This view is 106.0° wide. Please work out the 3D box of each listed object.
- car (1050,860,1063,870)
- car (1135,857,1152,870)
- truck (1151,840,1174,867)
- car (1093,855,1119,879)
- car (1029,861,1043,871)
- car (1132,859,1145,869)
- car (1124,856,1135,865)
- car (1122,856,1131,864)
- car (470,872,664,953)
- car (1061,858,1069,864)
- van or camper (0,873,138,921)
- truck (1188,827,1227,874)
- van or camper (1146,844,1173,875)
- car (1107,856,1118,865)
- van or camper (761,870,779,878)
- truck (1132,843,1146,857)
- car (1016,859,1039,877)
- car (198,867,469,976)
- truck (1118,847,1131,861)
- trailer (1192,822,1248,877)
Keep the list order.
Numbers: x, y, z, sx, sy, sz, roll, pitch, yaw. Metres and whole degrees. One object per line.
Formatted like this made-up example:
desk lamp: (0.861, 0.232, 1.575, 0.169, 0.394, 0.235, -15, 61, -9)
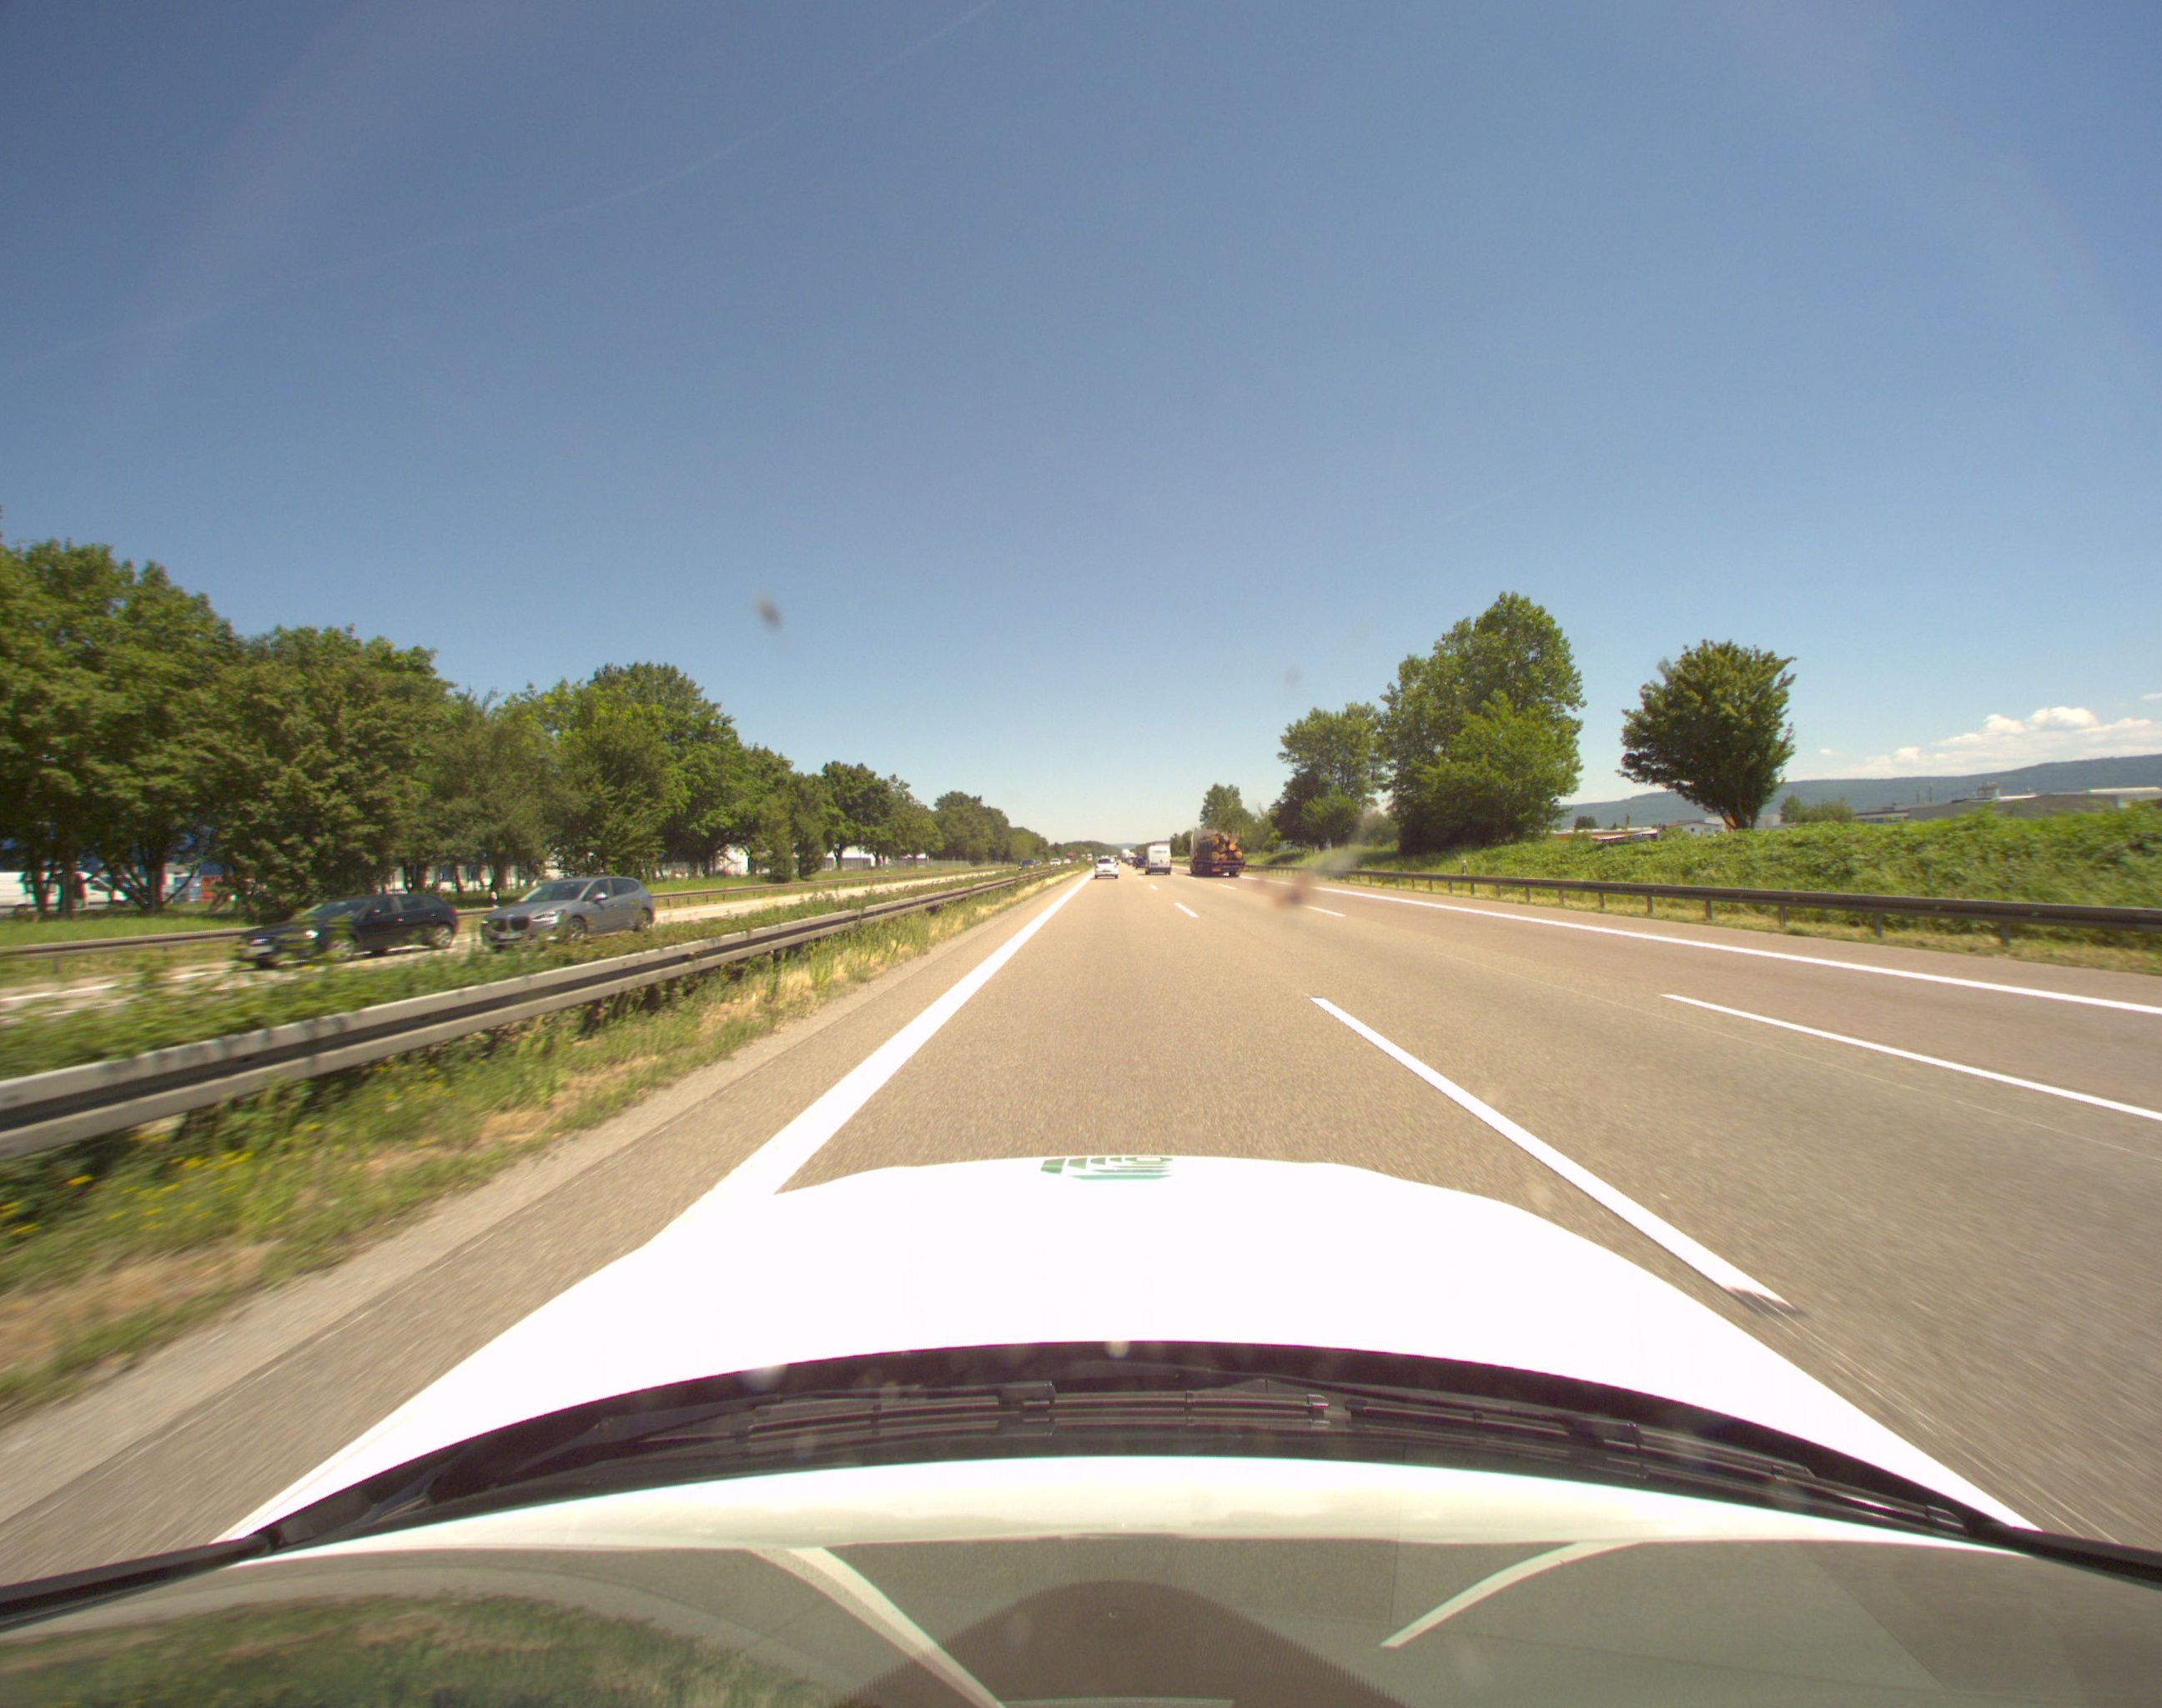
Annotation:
car: (-4.213, 1.865, 142.635, 1.986, 1.640, 4.575, 0, 0, 2)
car: (7.998, 1.249, 104.249, 1.851, 1.652, 4.000, 0, 0, 1)
truck: (13.582, -0.052, 137.462, 3.066, 4.209, 16.854, 0, 0, 3)
car: (1.785, 0.917, 59.352, 1.851, 1.652, 4.000, 0, 0, 1)
car: (-7.593, 2.010, 138.276, 1.865, 1.794, 4.426, 0, 0, 2)
car: (9.248, 1.604, 130.432, 1.851, 1.652, 4.000, 0, 0, 1)
car: (9.046, 1.217, 151.216, 1.851, 1.652, 4.000, 0, 0, 1)
car: (10.206, 1.311, 181.640, 1.851, 1.652, 4.000, 0, 0, 1)
car: (-11.891, 1.280, 19.228, 1.786, 1.578, 4.212, -2, -1, 1)
car: (-4.492, 2.000, 230.355, 1.986, 1.640, 4.860, -5, -1, 1)
van or camper: (-60.483, 2.480, 47.267, 2.349, 2.552, 7.725, -2, 0, 1)
truck: (11.196, -0.291, 72.644, 2.659, 3.994, 6.639, 0, 0, 2)
van or camper: (6.864, 0.519, 71.986, 2.050, 2.622, 5.988, -1, 0, 2)
car: (5.611, 1.141, 145.301, 1.851, 1.652, 4.000, 0, 0, 1)
van or camper: (-72.277, 4.681, 189.542, 1.986, 1.652, 5.023, -2, 0, 2)
truck: (18.329, -1.070, 256.725, 3.247, 4.209, 16.839, 0, 0, 0)
car: (-5.816, 1.510, 89.296, 1.986, 1.886, 5.650, 0, 0, 2)
car: (-16.426, 1.371, 18.270, 1.986, 2.013, 4.273, -3, -1, 1)
truck: (13.081, 0.113, 246.566, 3.247, 4.209, 16.839, 0, 0, 0)
trailer: (10.910, -0.311, 65.346, 2.643, 3.958, 13.643, 0, 0, 2)
